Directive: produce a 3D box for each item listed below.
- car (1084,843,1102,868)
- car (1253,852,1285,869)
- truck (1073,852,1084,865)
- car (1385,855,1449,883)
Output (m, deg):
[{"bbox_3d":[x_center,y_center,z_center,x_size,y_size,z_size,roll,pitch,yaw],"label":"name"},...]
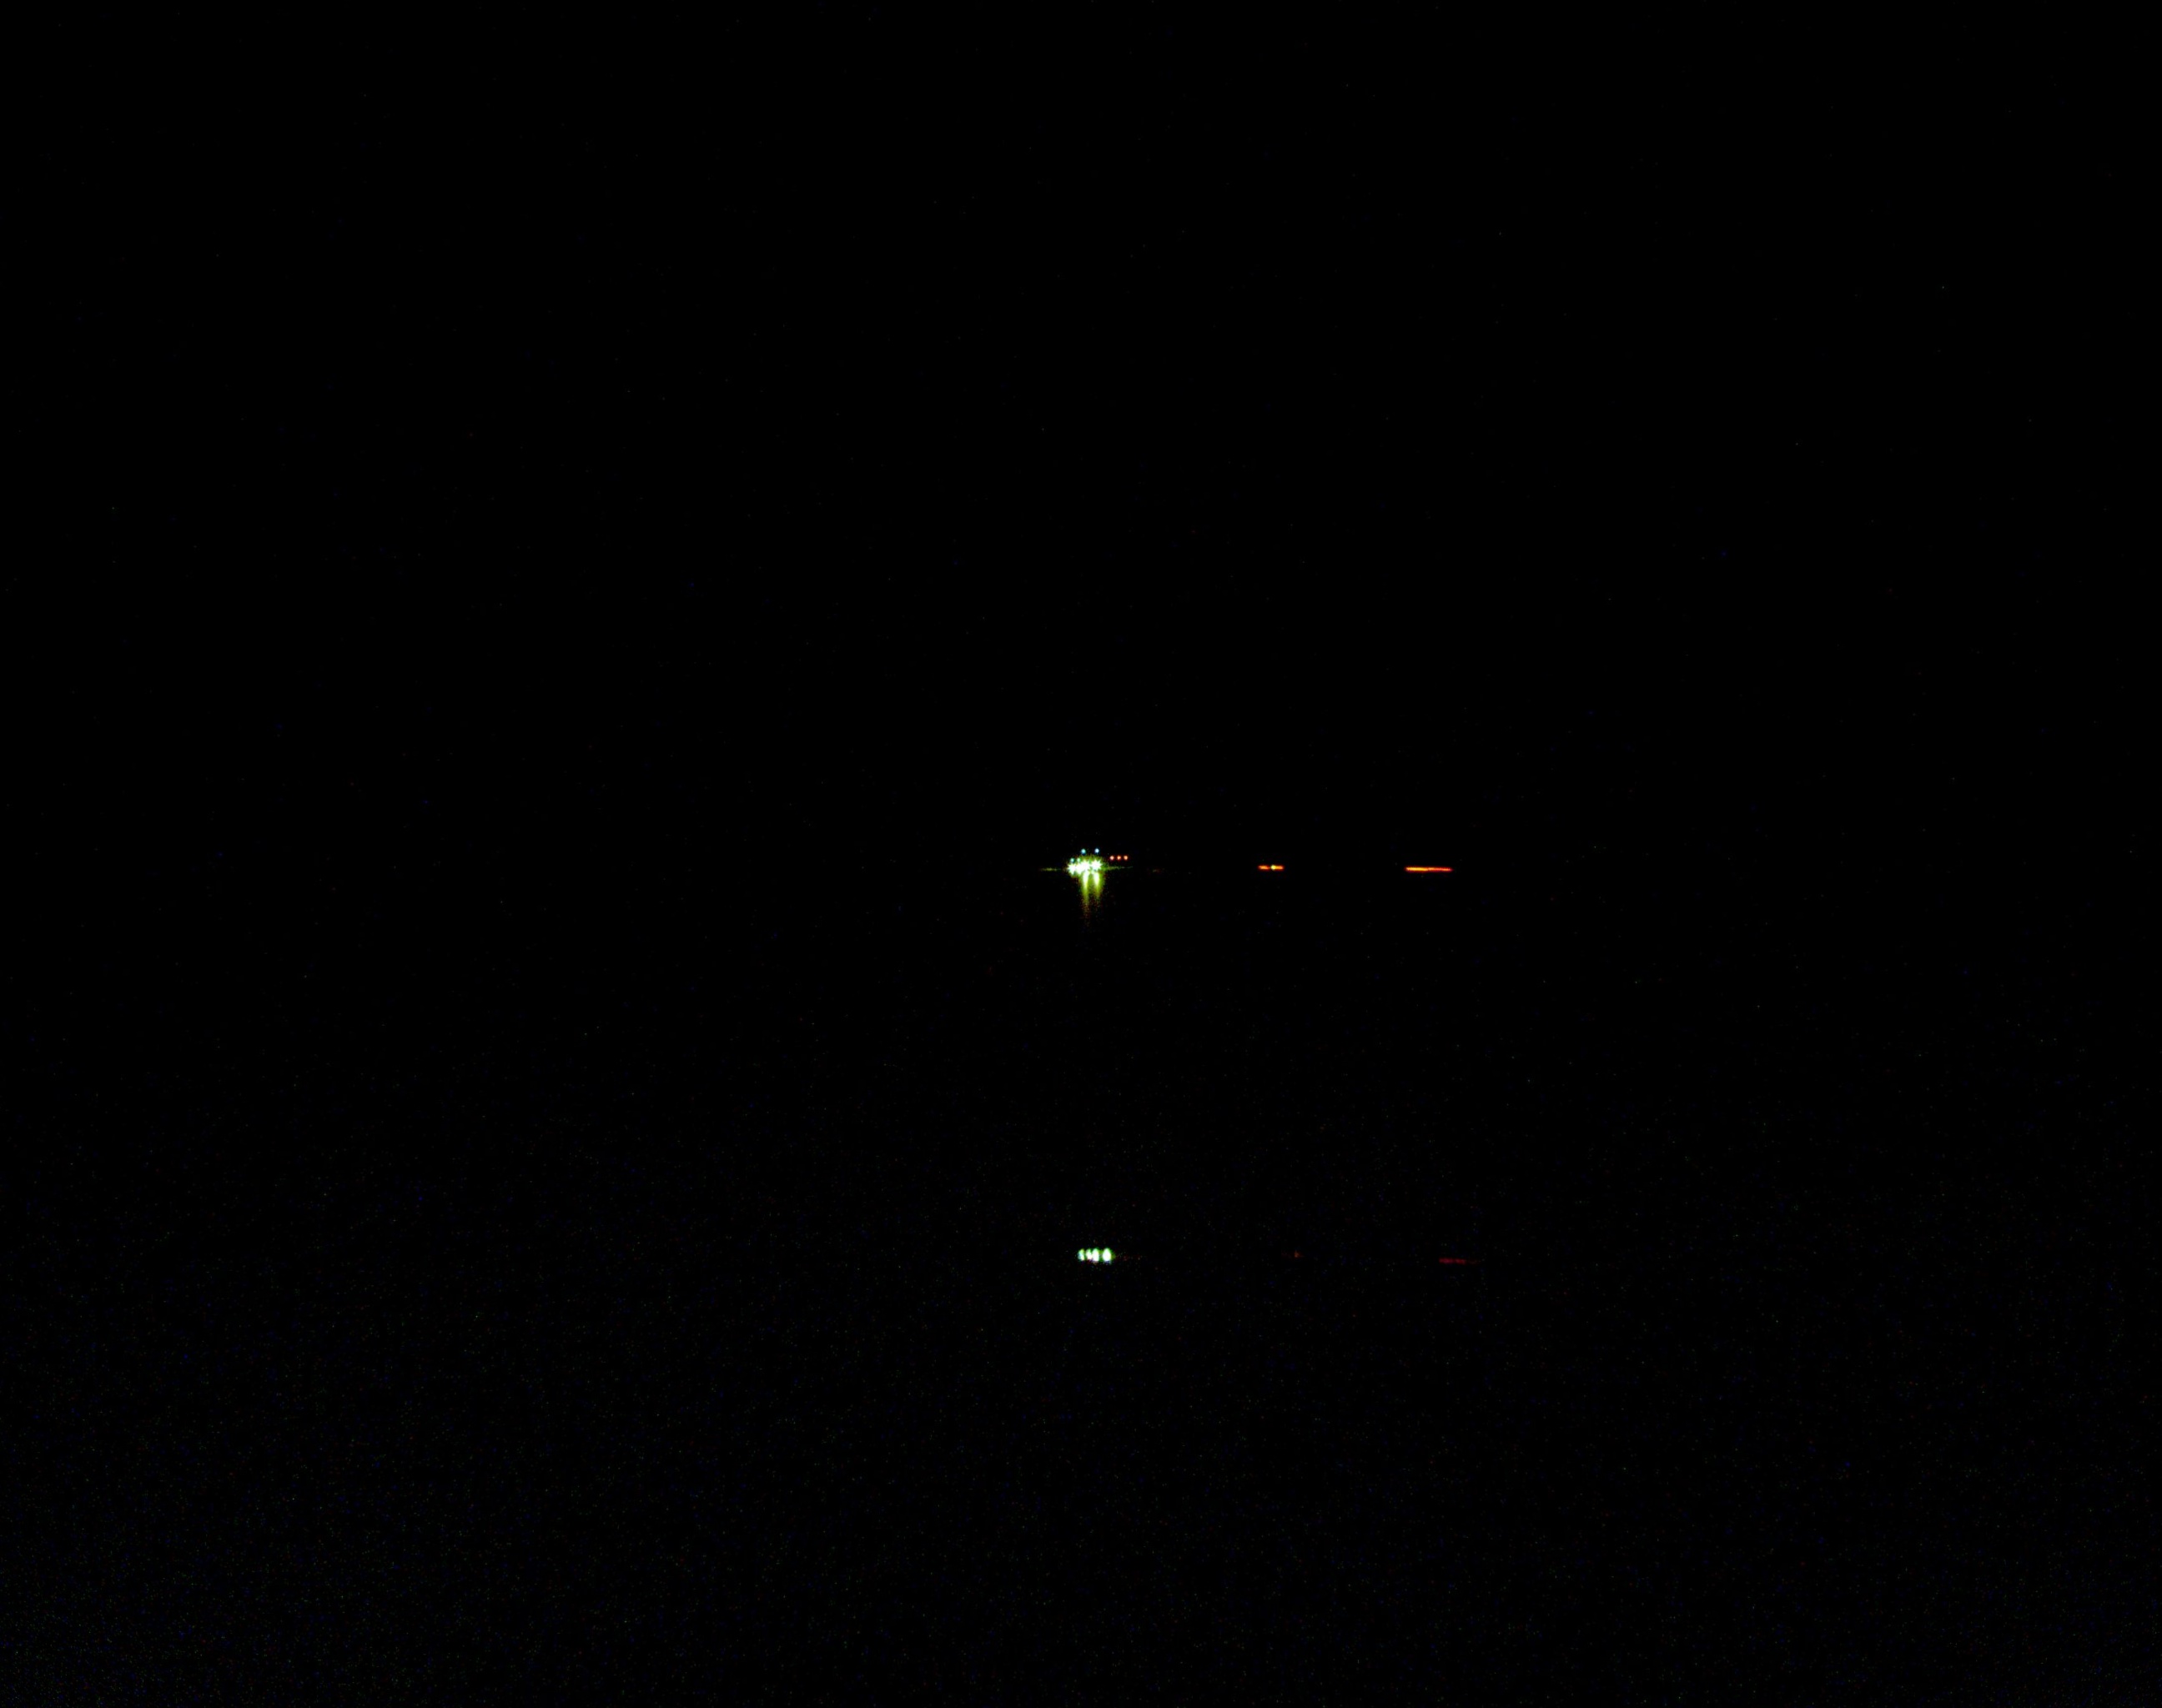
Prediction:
[{"bbox_3d":[1.611,0.168,103.132,2.255,3.205,6.877,-2,1,1],"label":"car"},{"bbox_3d":[17.109,0.571,69.352,1.908,1.462,4.656,-1,0,1],"label":"car"},{"bbox_3d":[-0.820,1.261,228.942,3.042,3.726,7.560,-1,0,1],"label":"truck"},{"bbox_3d":[20.351,0.888,46.243,1.908,1.611,4.656,-1,0,1],"label":"car"}]
